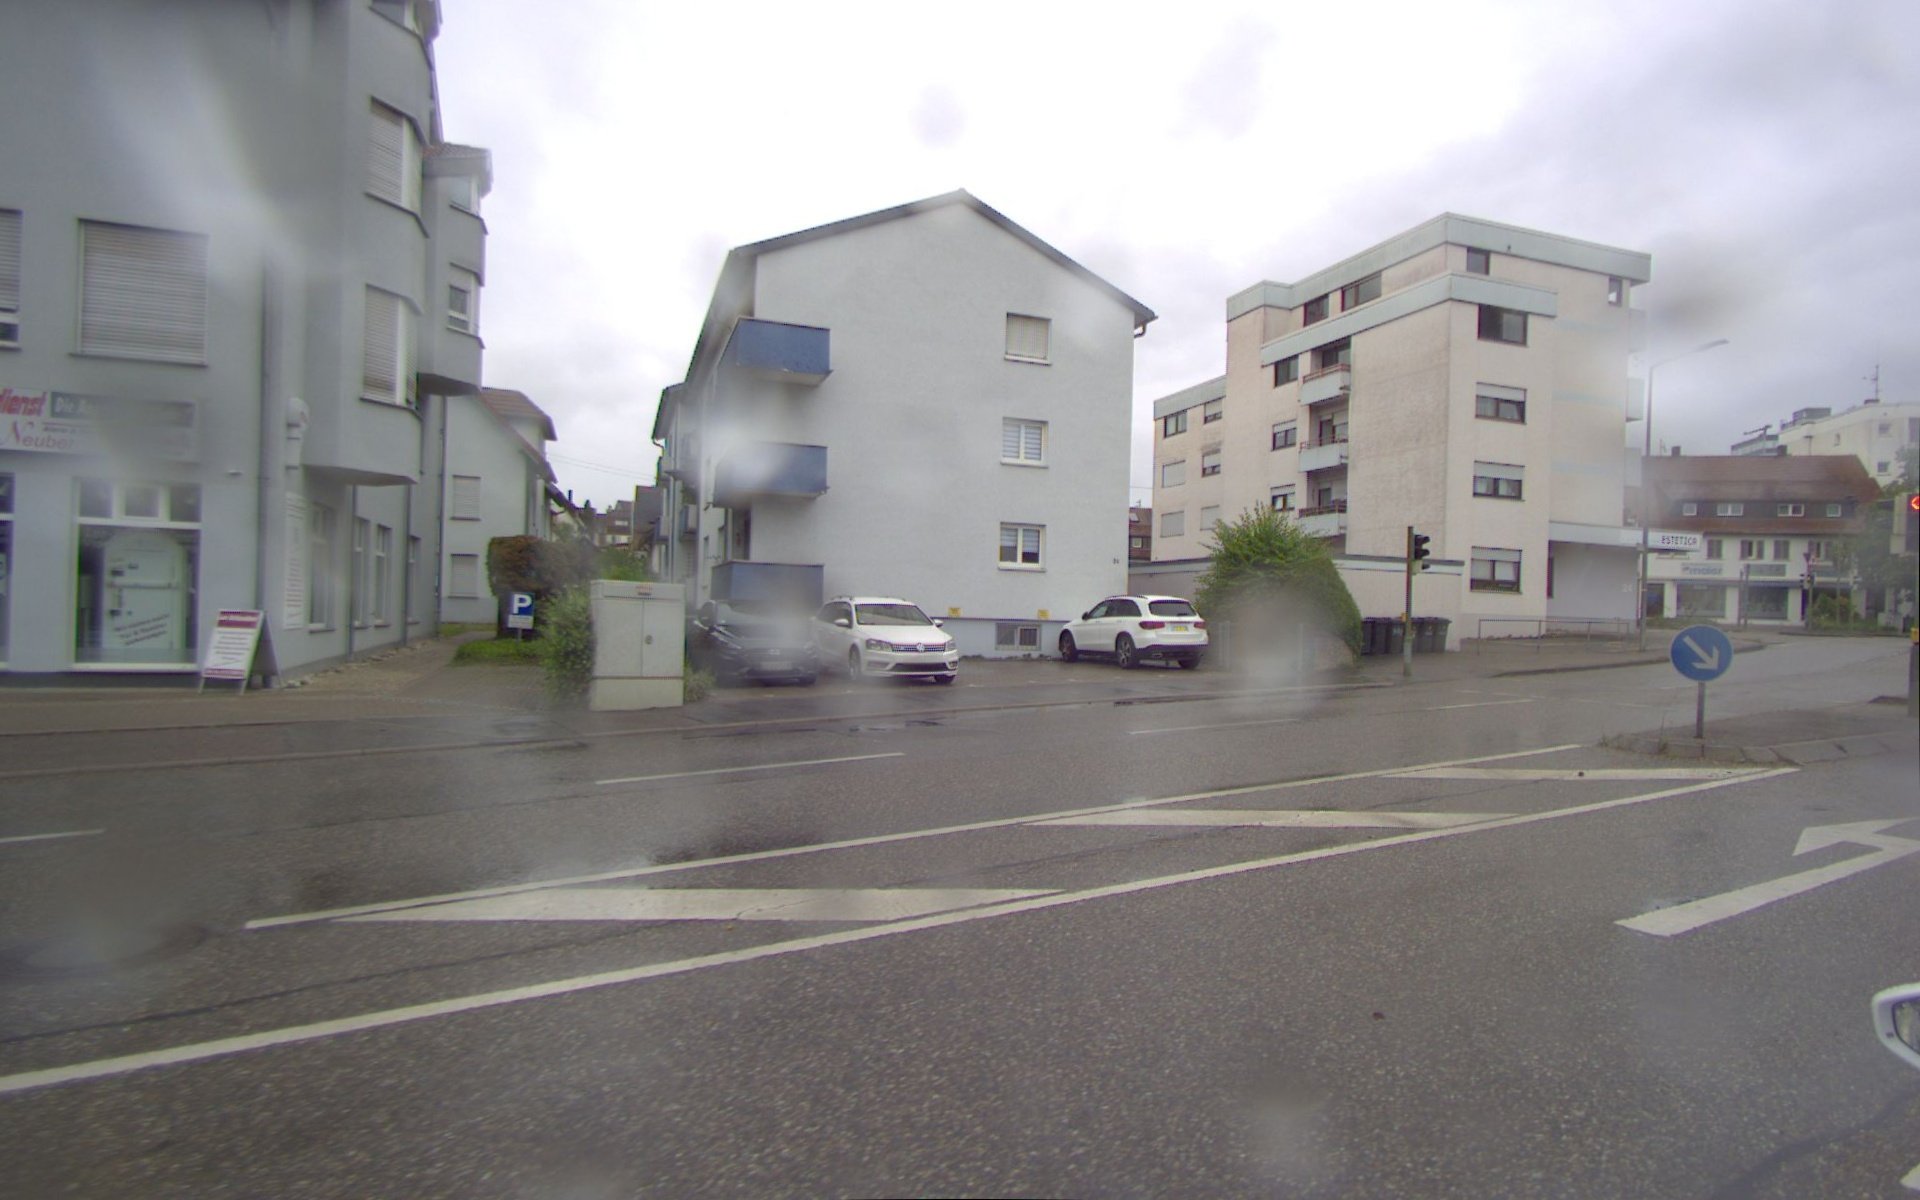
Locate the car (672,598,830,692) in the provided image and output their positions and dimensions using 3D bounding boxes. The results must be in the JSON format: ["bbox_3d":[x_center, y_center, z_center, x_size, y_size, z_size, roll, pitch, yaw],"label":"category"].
[{"bbox_3d":[-3.746,0.694,17.437,1.878,1.430,3.976,0,0,-24],"label":"car"}]

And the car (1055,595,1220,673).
[{"bbox_3d":[4.062,0.734,23.841,1.910,1.658,4.445,0,0,-20],"label":"car"}]

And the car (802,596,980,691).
[{"bbox_3d":[-1.378,0.703,18.185,1.878,1.493,4.208,0,0,-24],"label":"car"}]

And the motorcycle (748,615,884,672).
[{"bbox_3d":[-3.105,0.914,22.054,0.864,1.115,3.114,1,1,42],"label":"motorcycle"}]
